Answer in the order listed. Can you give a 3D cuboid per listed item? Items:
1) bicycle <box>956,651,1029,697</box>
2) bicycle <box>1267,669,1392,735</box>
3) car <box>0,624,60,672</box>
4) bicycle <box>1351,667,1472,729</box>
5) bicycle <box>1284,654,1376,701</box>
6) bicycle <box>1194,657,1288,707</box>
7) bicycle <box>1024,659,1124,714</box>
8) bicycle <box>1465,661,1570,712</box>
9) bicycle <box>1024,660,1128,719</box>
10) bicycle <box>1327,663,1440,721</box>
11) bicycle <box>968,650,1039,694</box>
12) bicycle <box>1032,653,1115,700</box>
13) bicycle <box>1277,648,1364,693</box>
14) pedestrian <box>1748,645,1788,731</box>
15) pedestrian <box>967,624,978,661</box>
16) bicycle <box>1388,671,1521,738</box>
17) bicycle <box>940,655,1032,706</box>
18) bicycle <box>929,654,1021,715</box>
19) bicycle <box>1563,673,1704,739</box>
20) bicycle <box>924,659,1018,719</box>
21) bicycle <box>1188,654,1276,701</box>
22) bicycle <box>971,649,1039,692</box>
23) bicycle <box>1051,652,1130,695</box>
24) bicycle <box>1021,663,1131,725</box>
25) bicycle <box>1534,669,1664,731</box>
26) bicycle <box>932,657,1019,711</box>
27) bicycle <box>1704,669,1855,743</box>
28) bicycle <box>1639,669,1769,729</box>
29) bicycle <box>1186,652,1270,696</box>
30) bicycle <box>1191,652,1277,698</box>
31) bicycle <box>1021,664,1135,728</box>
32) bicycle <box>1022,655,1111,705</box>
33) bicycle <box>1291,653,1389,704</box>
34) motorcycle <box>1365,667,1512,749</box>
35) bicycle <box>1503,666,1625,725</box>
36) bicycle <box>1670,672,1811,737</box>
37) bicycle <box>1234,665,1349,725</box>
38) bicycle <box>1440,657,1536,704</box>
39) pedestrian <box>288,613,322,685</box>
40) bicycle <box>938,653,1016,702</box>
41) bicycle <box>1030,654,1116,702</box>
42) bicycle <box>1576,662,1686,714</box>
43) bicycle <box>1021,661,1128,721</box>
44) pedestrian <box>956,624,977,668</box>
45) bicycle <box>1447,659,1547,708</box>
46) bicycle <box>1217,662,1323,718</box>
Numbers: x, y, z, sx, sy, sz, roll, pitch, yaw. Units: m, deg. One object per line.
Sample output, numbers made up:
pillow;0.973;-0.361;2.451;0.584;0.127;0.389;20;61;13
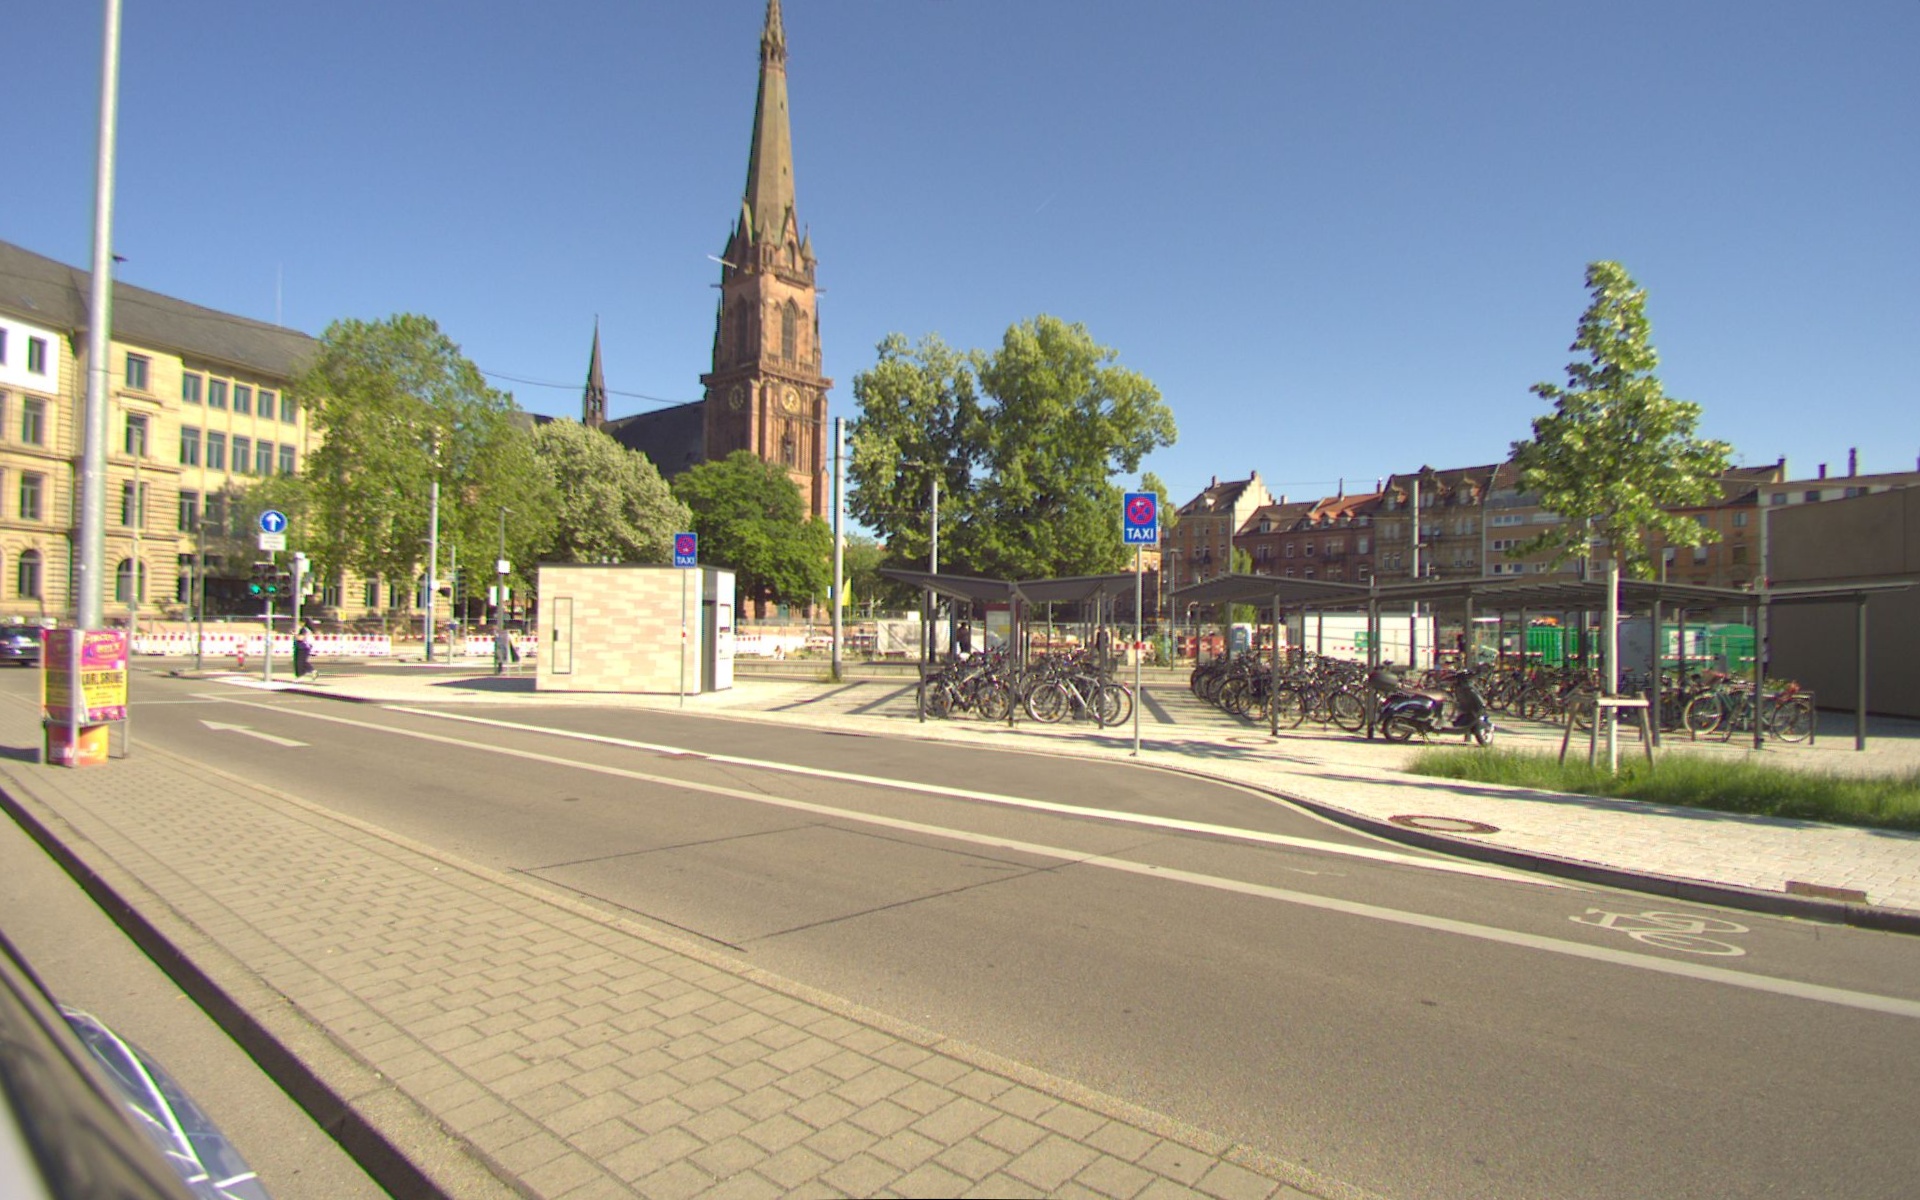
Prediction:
bicycle;0.753;1.711;23.476;1.652;1.016;0.456;0;-2;8
bicycle;6.128;1.684;16.833;1.882;1.016;0.456;0;-2;8
car;-31.710;1.559;33.782;4.571;1.511;1.771;-1;-3;39
bicycle;7.901;1.711;17.756;1.882;1.016;0.456;0;-2;8
bicycle;8.322;1.737;22.811;1.882;1.016;0.456;0;-2;8
bicycle;5.972;1.749;21.603;1.882;1.016;0.456;0;-2;8
bicycle;2.203;1.661;19.578;1.882;1.016;0.456;0;-2;8
bicycle;11.721;1.816;21.306;1.882;1.016;0.456;0;-2;8
bicycle;2.143;1.647;18.737;1.882;1.016;0.456;0;-2;8
bicycle;7.924;1.714;18.989;1.882;1.016;0.456;0;-2;8
bicycle;1.049;1.717;24.220;1.652;1.016;0.456;0;-2;8
bicycle;2.613;1.750;23.297;1.882;1.016;0.456;0;-2;8
bicycle;8.493;1.654;23.904;1.882;1.016;0.456;0;-2;8
pedestrian;19.725;2.131;24.700;0.718;2.029;0.678;-1;-3;41
pedestrian;0.593;1.997;47.610;0.399;1.734;0.419;1;-2;-11
bicycle;8.035;1.693;16.487;1.882;1.016;0.456;0;-2;8
bicycle;0.550;1.677;21.220;1.882;1.016;0.456;0;-2;8
bicycle;0.287;1.561;18.771;1.652;1.069;0.456;0;-2;8
bicycle;10.979;1.720;16.530;1.882;1.016;0.456;0;-2;8
bicycle;0.208;1.587;18.185;1.652;1.016;0.456;0;-2;8
bicycle;6.156;1.740;22.937;1.882;1.016;0.456;0;-2;8
bicycle;1.113;1.731;24.936;1.652;1.016;0.456;0;-2;8
bicycle;3.169;1.778;24.593;1.882;1.016;0.456;0;-2;8
bicycle;2.026;1.626;17.668;1.882;1.016;0.456;0;-2;8
bicycle;11.107;1.734;17.635;1.882;1.016;0.456;0;-2;8
bicycle;0.312;1.639;19.881;1.652;1.016;0.456;0;-2;8
bicycle;13.088;1.687;16.199;1.882;1.106;0.456;0;-2;8
bicycle;13.476;1.779;18.357;1.882;1.016;0.456;0;-2;8
bicycle;6.400;1.764;24.219;1.882;1.016;0.456;0;-2;8
bicycle;6.373;1.734;23.561;1.882;1.016;0.456;0;-2;8
bicycle;1.996;1.604;17.108;1.882;1.016;0.456;0;-2;8
bicycle;2.304;1.724;21.914;1.882;1.016;0.456;0;-2;8
bicycle;8.063;1.663;21.513;1.882;1.016;0.456;0;-2;8
motorcycle;7.168;1.604;15.219;1.924;1.160;0.516;0;-2;6
bicycle;11.170;1.758;18.751;1.882;1.016;0.456;0;-2;8
bicycle;13.135;1.745;17.059;1.882;1.016;0.456;0;-2;8
bicycle;5.906;1.685;18.086;1.882;1.016;0.456;0;-2;8
bicycle;12.085;1.838;23.187;1.882;1.016;0.456;0;-2;8
pedestrian;-17.539;1.302;27.100;0.683;1.868;0.680;2;-2;-38
bicycle;0.378;1.692;22.218;1.652;1.016;0.456;0;-2;8
bicycle;2.517;1.728;22.528;1.882;1.016;0.456;0;-2;8
bicycle;13.880;1.820;20.964;1.882;1.016;0.456;0;-2;8
bicycle;2.061;1.635;18.255;1.882;1.016;0.456;0;-2;8
pedestrian;0.263;1.868;41.414;0.792;1.793;0.977;0;-2;3
bicycle;11.790;1.827;22.237;1.882;1.016;0.456;0;-2;8
bicycle;5.904;1.710;19.316;1.882;1.016;0.456;0;-2;8
